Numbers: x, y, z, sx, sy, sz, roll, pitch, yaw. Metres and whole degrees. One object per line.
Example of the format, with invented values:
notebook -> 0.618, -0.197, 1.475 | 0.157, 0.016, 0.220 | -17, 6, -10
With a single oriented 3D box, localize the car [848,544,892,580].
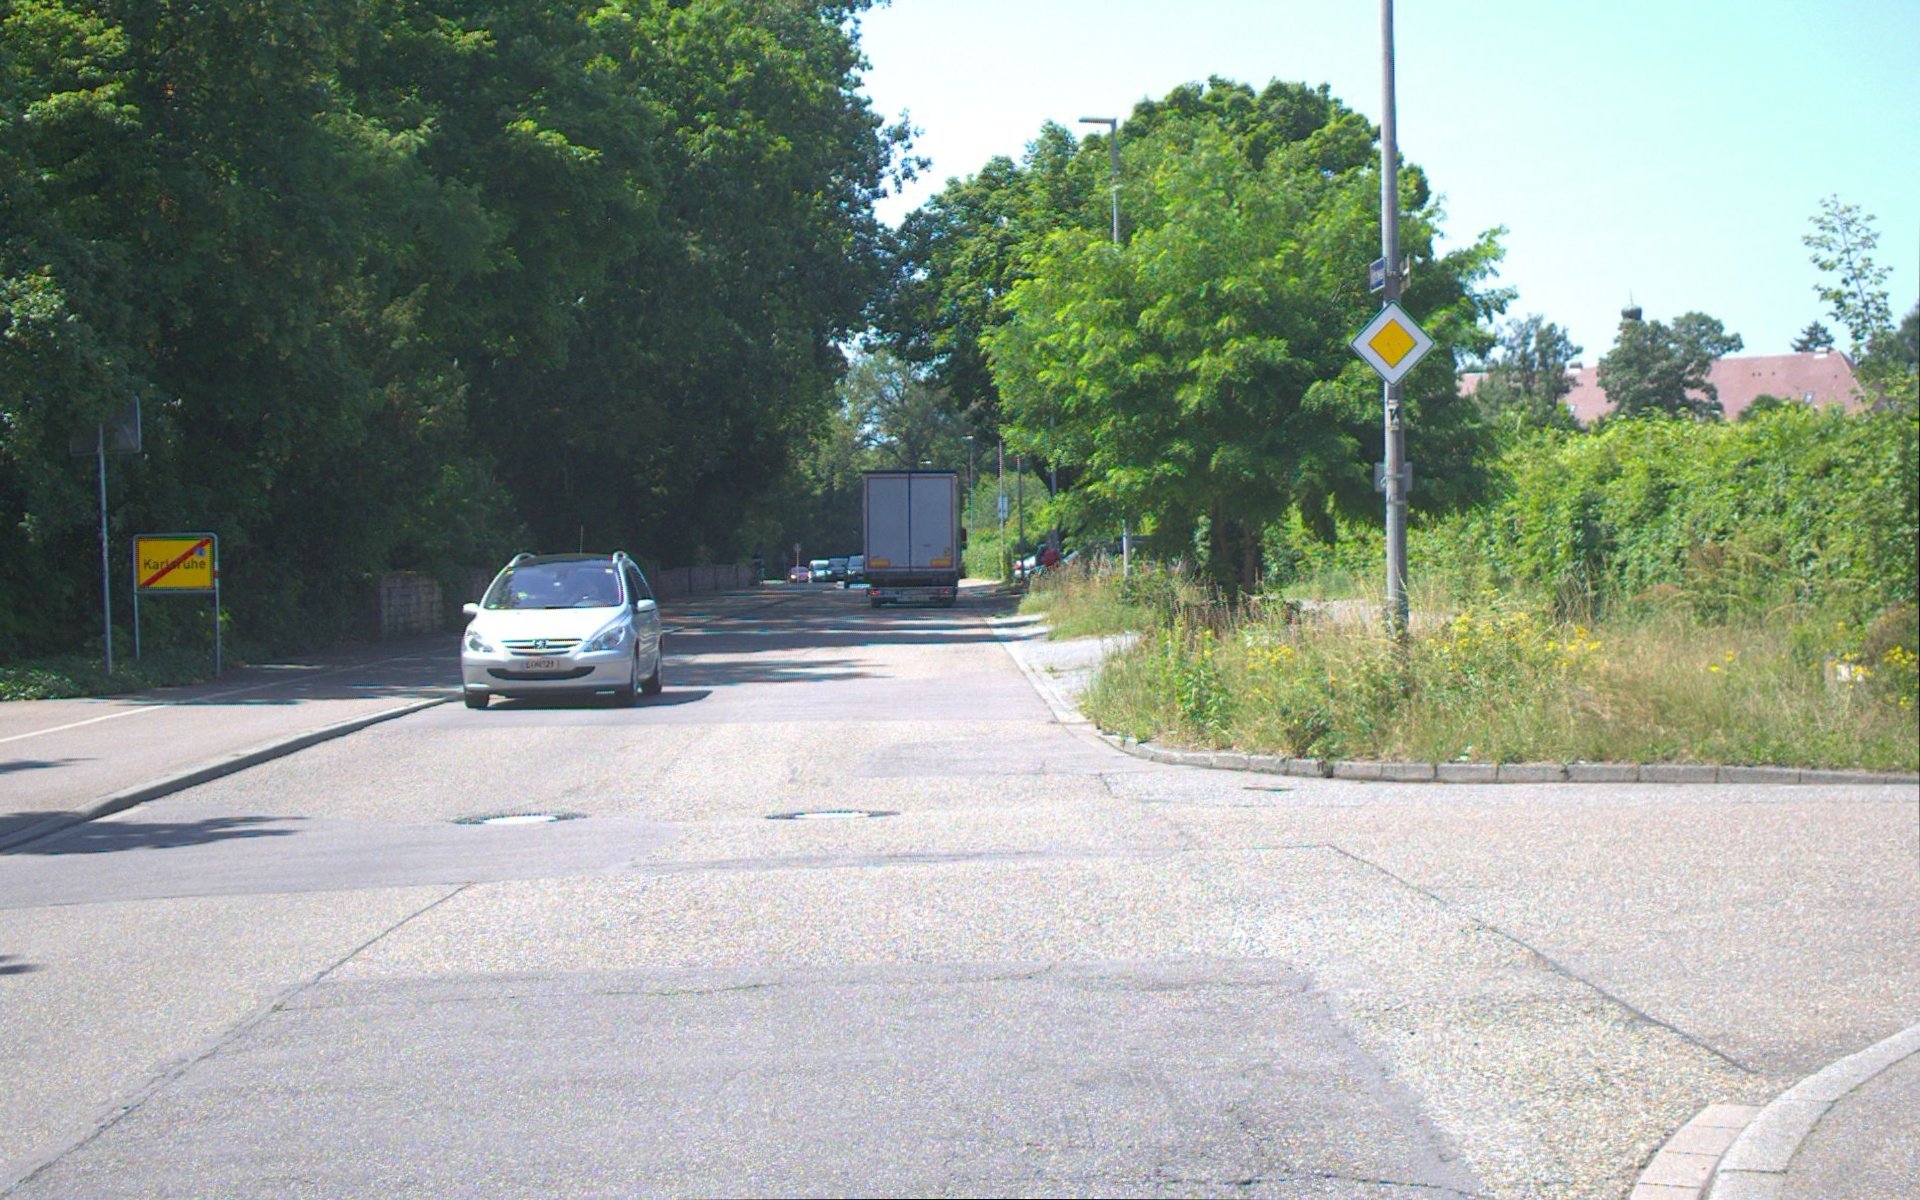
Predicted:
car -> -4.479, -1.906, 171.558 | 1.993, 1.678, 4.262 | -2, 1, 0

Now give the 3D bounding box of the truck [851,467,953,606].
truck -> -1.582, -1.844, 99.480 | 2.733, 3.733, 13.246 | 0, 1, 0

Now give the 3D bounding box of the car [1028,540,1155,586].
car -> 4.459, -1.258, 116.993 | 4.196, 1.440, 1.739 | -2, 1, 1

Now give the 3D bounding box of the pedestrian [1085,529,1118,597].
pedestrian -> 3.639, -0.965, 88.743 | 0.739, 1.732, 0.886 | -2, 1, -2

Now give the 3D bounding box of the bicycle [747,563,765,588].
bicycle -> -9.681, -1.162, 163.317 | 0.718, 1.155, 2.230 | -2, 1, 0

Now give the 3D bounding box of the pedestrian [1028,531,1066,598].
pedestrian -> 2.207, -0.907, 87.614 | 0.863, 1.671, 0.886 | -2, 1, -2

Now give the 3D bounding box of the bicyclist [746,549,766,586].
bicyclist -> -9.691, -1.563, 163.330 | 0.832, 1.710, 0.957 | -2, 1, 0

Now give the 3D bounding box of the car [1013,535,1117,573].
car -> 4.299, -1.902, 141.570 | 4.196, 1.440, 1.739 | -2, 1, 1

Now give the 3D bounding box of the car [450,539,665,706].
car -> -4.140, 0.184, 35.967 | 1.791, 1.567, 4.272 | -1, 2, -1
